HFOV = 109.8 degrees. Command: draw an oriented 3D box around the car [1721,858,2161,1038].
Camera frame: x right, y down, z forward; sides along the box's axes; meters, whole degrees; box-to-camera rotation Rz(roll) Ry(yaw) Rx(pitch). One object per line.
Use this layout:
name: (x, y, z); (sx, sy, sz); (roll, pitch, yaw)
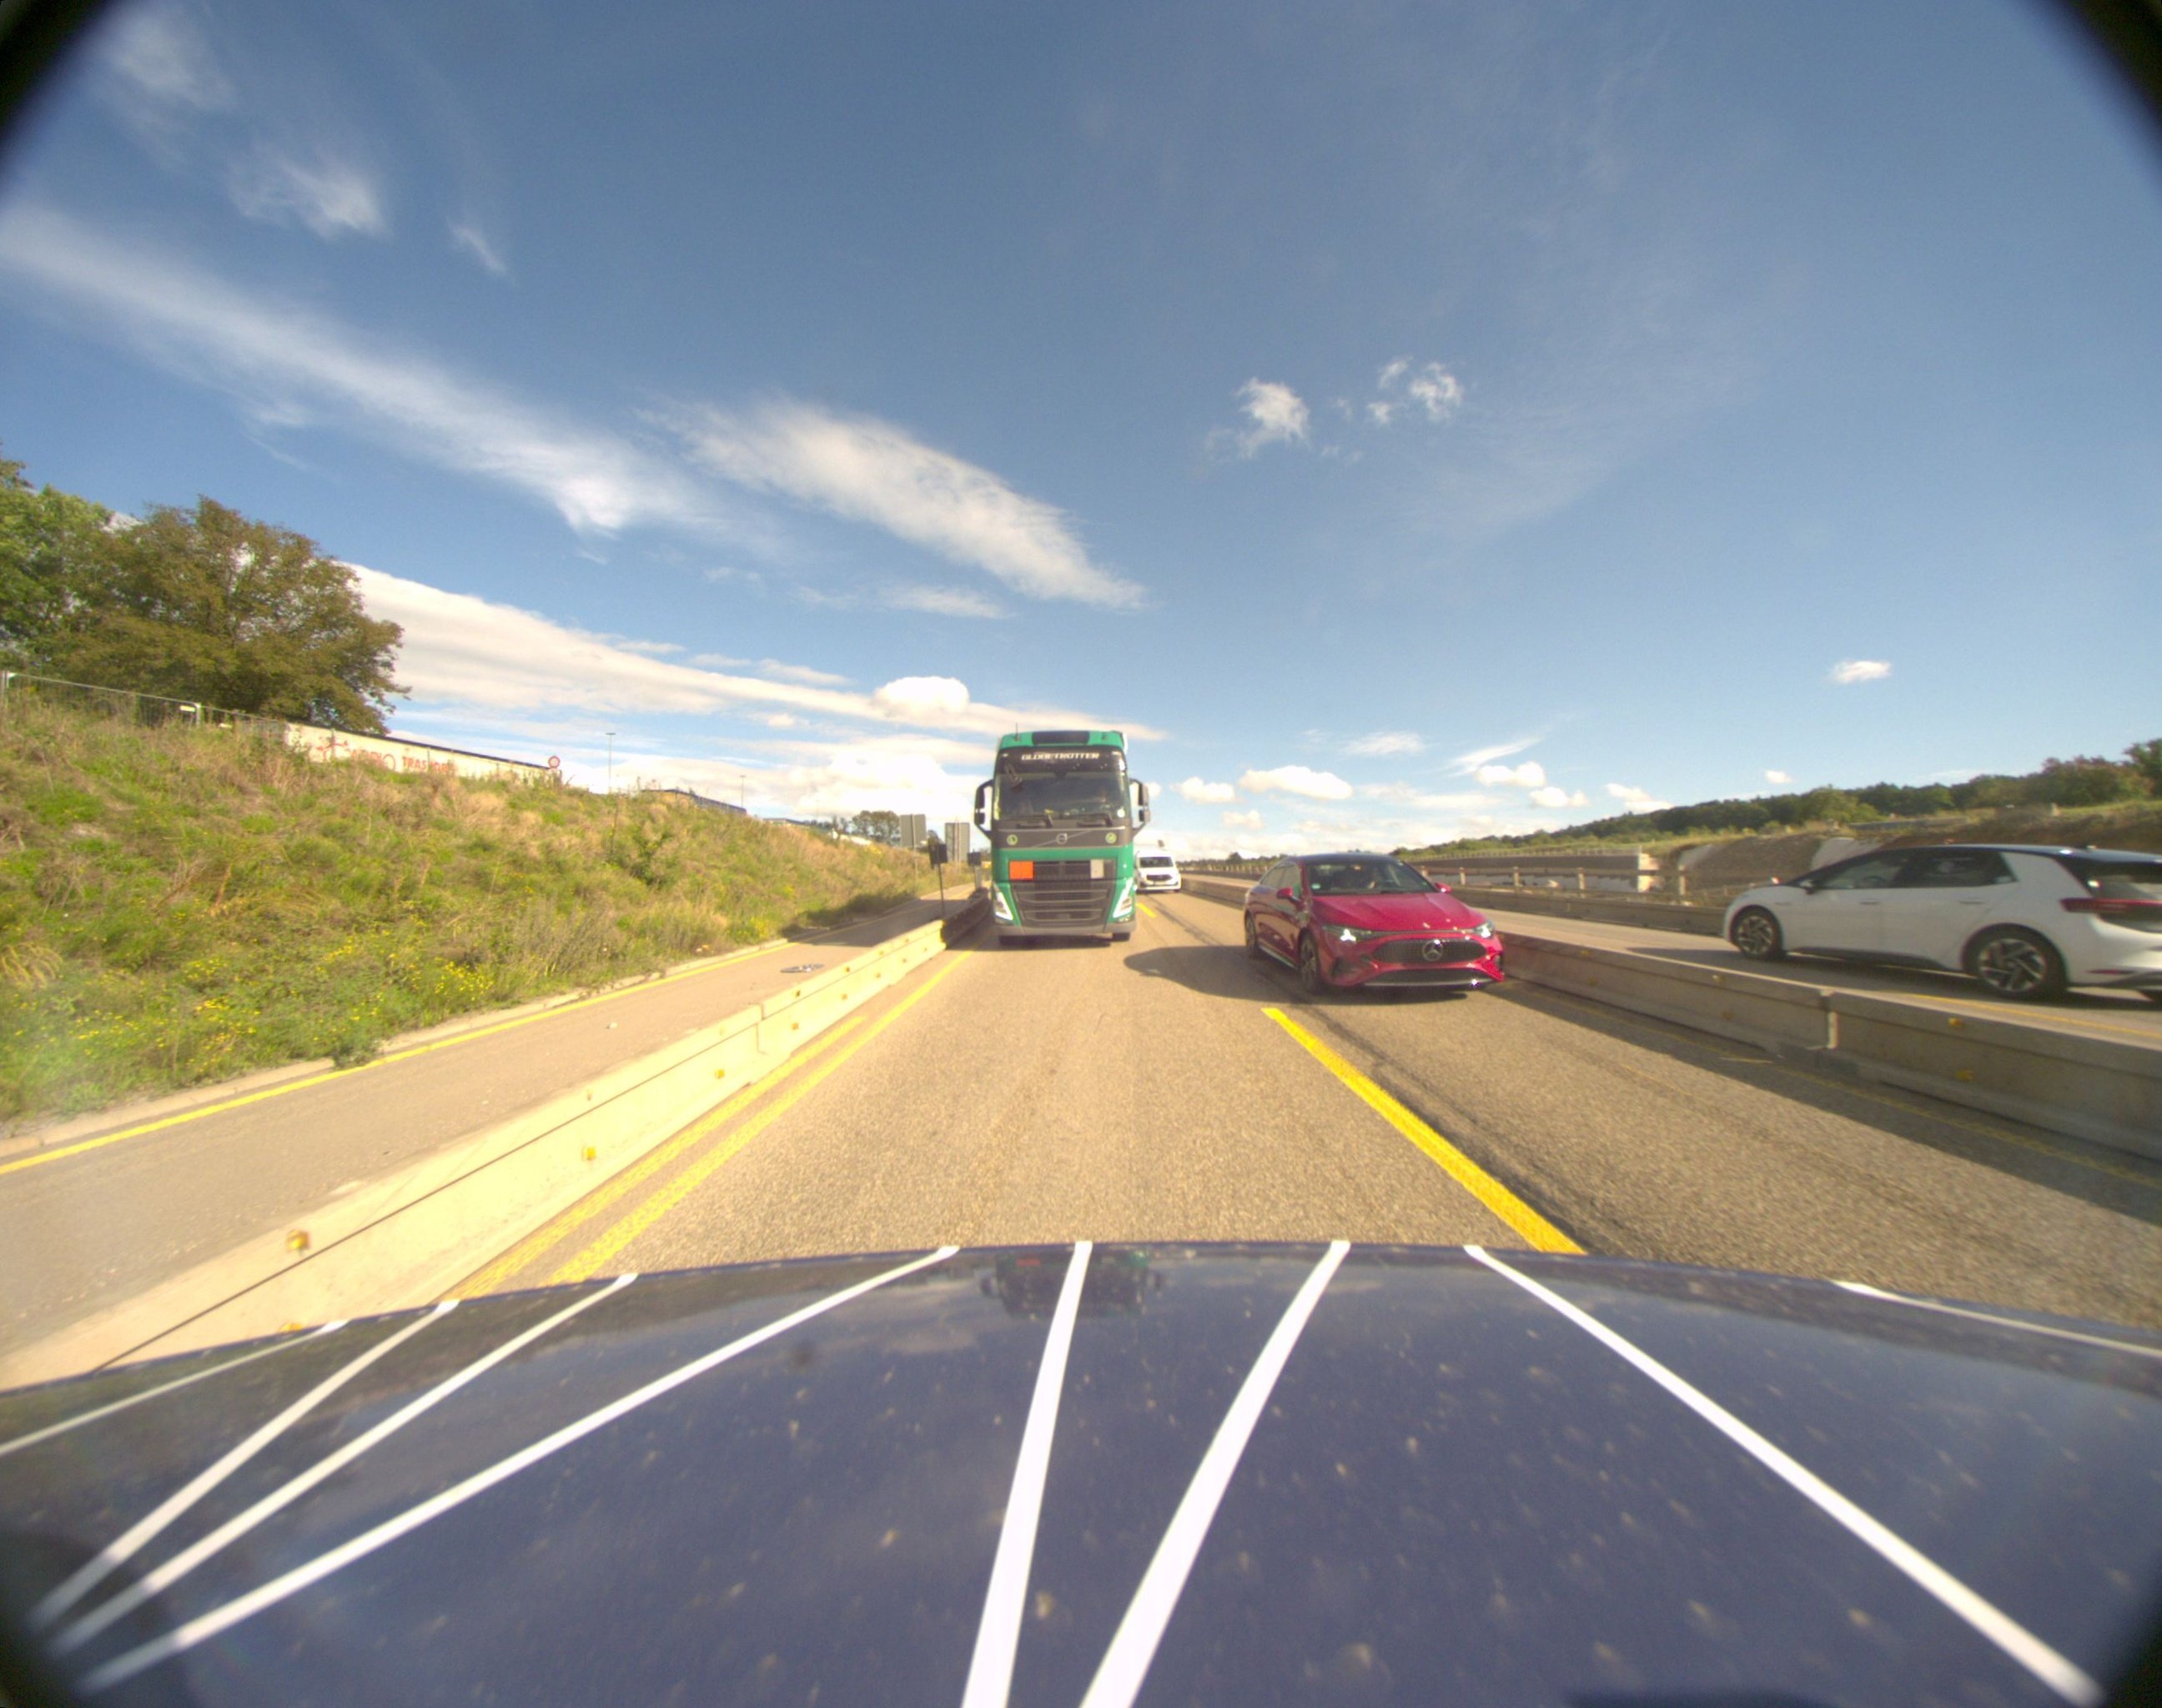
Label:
car: (9.820, 0.815, 8.455); (1.827, 1.483, 4.218); (1, 0, 1)

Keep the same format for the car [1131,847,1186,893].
car: (3.283, 0.653, 32.925); (1.827, 1.813, 4.456); (-3, 0, 0)

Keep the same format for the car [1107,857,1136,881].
car: (2.813, 1.043, 53.425); (1.719, 1.499, 3.999); (-2, 0, 0)

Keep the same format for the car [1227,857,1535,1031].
car: (3.149, 0.818, 9.171); (1.827, 1.483, 4.684); (-3, 0, 0)

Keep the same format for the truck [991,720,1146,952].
truck: (-0.212, -0.322, 17.088); (2.546, 3.899, 8.278); (-1, 0, 0)
